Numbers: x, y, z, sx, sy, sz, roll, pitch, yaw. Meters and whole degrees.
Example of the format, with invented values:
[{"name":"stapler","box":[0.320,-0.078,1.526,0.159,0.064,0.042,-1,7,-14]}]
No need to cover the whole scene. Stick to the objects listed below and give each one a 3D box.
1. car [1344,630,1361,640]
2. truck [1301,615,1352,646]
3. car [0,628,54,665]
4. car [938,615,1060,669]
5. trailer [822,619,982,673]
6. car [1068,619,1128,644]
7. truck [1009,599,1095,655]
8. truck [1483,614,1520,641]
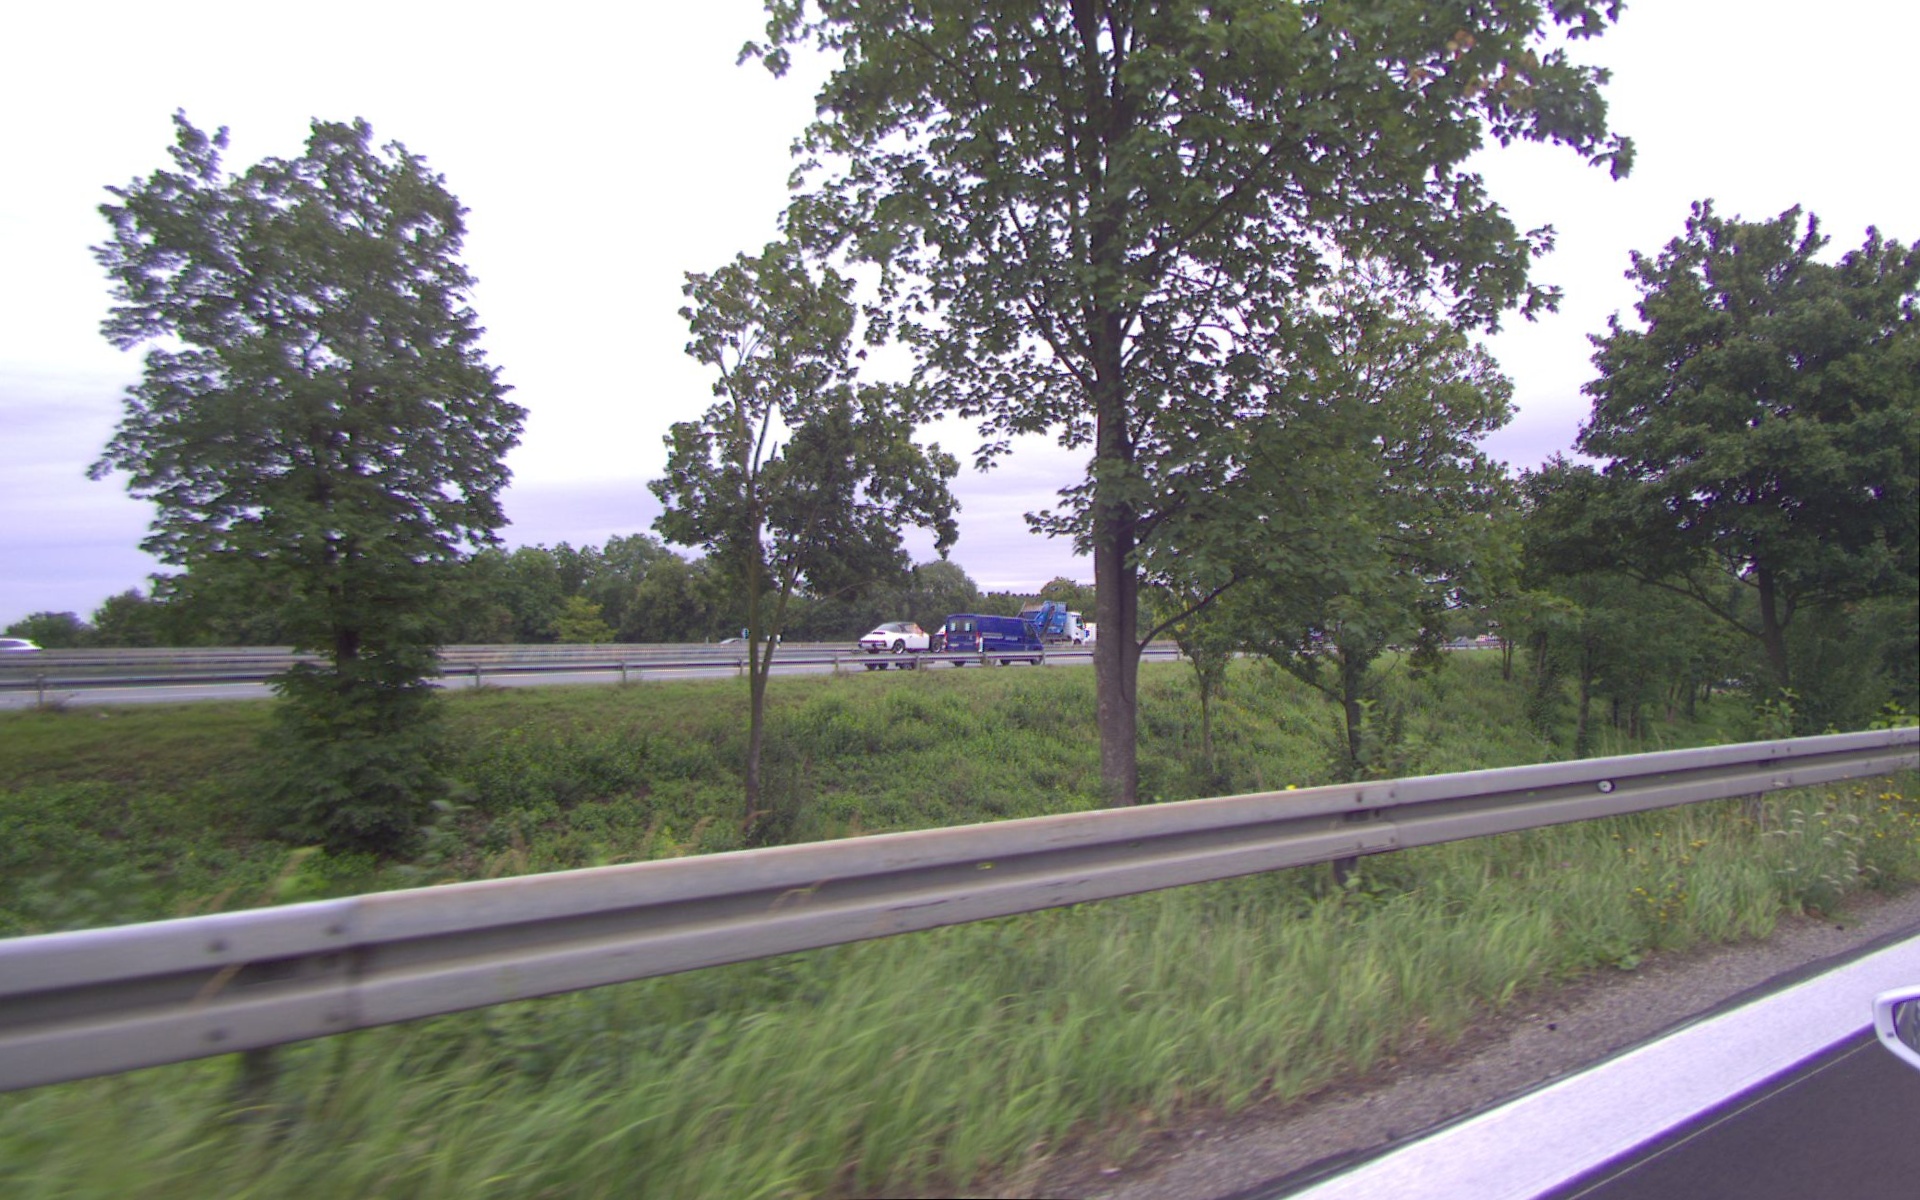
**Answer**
[{"name":"car","box":[76.013,6.756,194.499,1.970,1.862,3.982,-2,-1,39]},{"name":"truck","box":[41.833,3.473,114.592,2.823,3.409,8.592,-1,-2,39]},{"name":"car","box":[-45.766,2.192,47.573,1.848,1.750,3.982,0,-2,39]},{"name":"car","box":[1.901,1.866,46.140,2.344,2.296,6.229,0,-2,39]},{"name":"trailer","box":[-2.216,1.823,41.008,2.455,2.021,7.032,0,-2,39]},{"name":"car","box":[17.829,4.069,128.751,2.700,3.021,10.035,0,-2,40]},{"name":"truck","box":[6.773,1.955,72.887,2.606,3.862,7.311,0,-2,39]},{"name":"truck","box":[92.574,4.735,171.695,3.689,4.476,10.149,0,-1,39]}]
